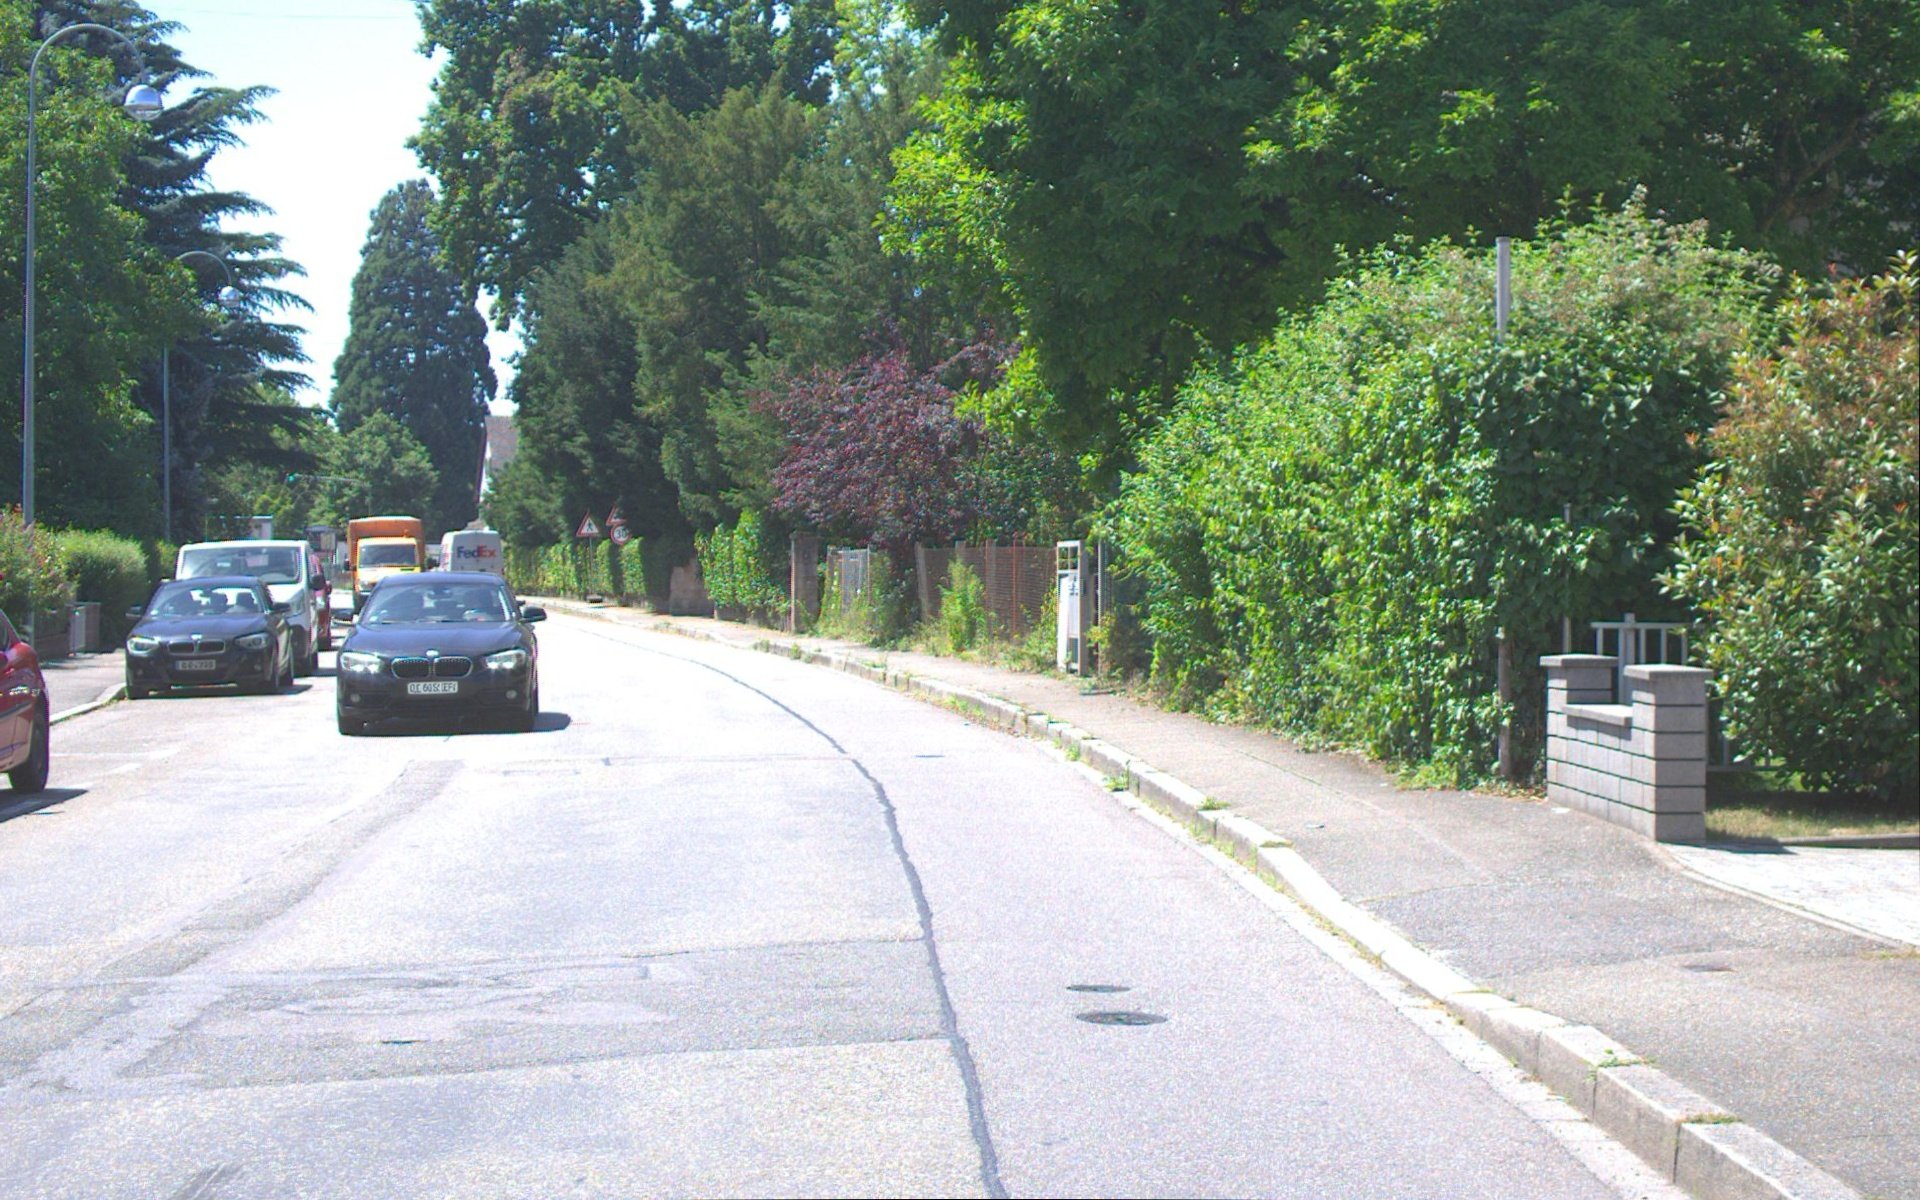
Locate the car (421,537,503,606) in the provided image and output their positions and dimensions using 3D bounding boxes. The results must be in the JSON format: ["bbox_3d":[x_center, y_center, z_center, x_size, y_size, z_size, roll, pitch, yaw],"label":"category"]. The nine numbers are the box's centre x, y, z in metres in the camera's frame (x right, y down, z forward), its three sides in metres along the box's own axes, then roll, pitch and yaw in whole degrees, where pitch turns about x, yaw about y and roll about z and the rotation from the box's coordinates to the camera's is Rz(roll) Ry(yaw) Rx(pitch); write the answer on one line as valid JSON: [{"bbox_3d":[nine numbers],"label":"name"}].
[{"bbox_3d":[-17.342,-1.006,119.553,2.143,2.307,4.854,-1,1,-16],"label":"car"}]

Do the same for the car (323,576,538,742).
[{"bbox_3d":[-4.867,0.521,32.015,1.731,1.412,4.001,-1,0,-6],"label":"car"}]

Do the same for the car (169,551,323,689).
[{"bbox_3d":[-10.223,0.280,49.502,1.886,1.875,4.981,-1,0,-9],"label":"car"}]

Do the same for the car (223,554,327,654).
[{"bbox_3d":[-12.544,0.057,63.123,1.757,1.721,4.459,-1,1,-10],"label":"car"}]

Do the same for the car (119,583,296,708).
[{"bbox_3d":[-9.105,0.513,41.853,1.698,1.379,4.236,-2,1,-7],"label":"car"}]

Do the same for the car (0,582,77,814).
[{"bbox_3d":[-7.010,0.653,22.065,1.760,1.472,4.058,-2,0,-3],"label":"car"}]

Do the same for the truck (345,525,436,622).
[{"bbox_3d":[-17.109,-0.776,103.138,2.372,2.820,5.660,0,0,-13],"label":"truck"}]

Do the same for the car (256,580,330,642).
[{"bbox_3d":[-18.907,0.304,97.315,1.850,1.665,4.714,-2,0,-13],"label":"car"}]
